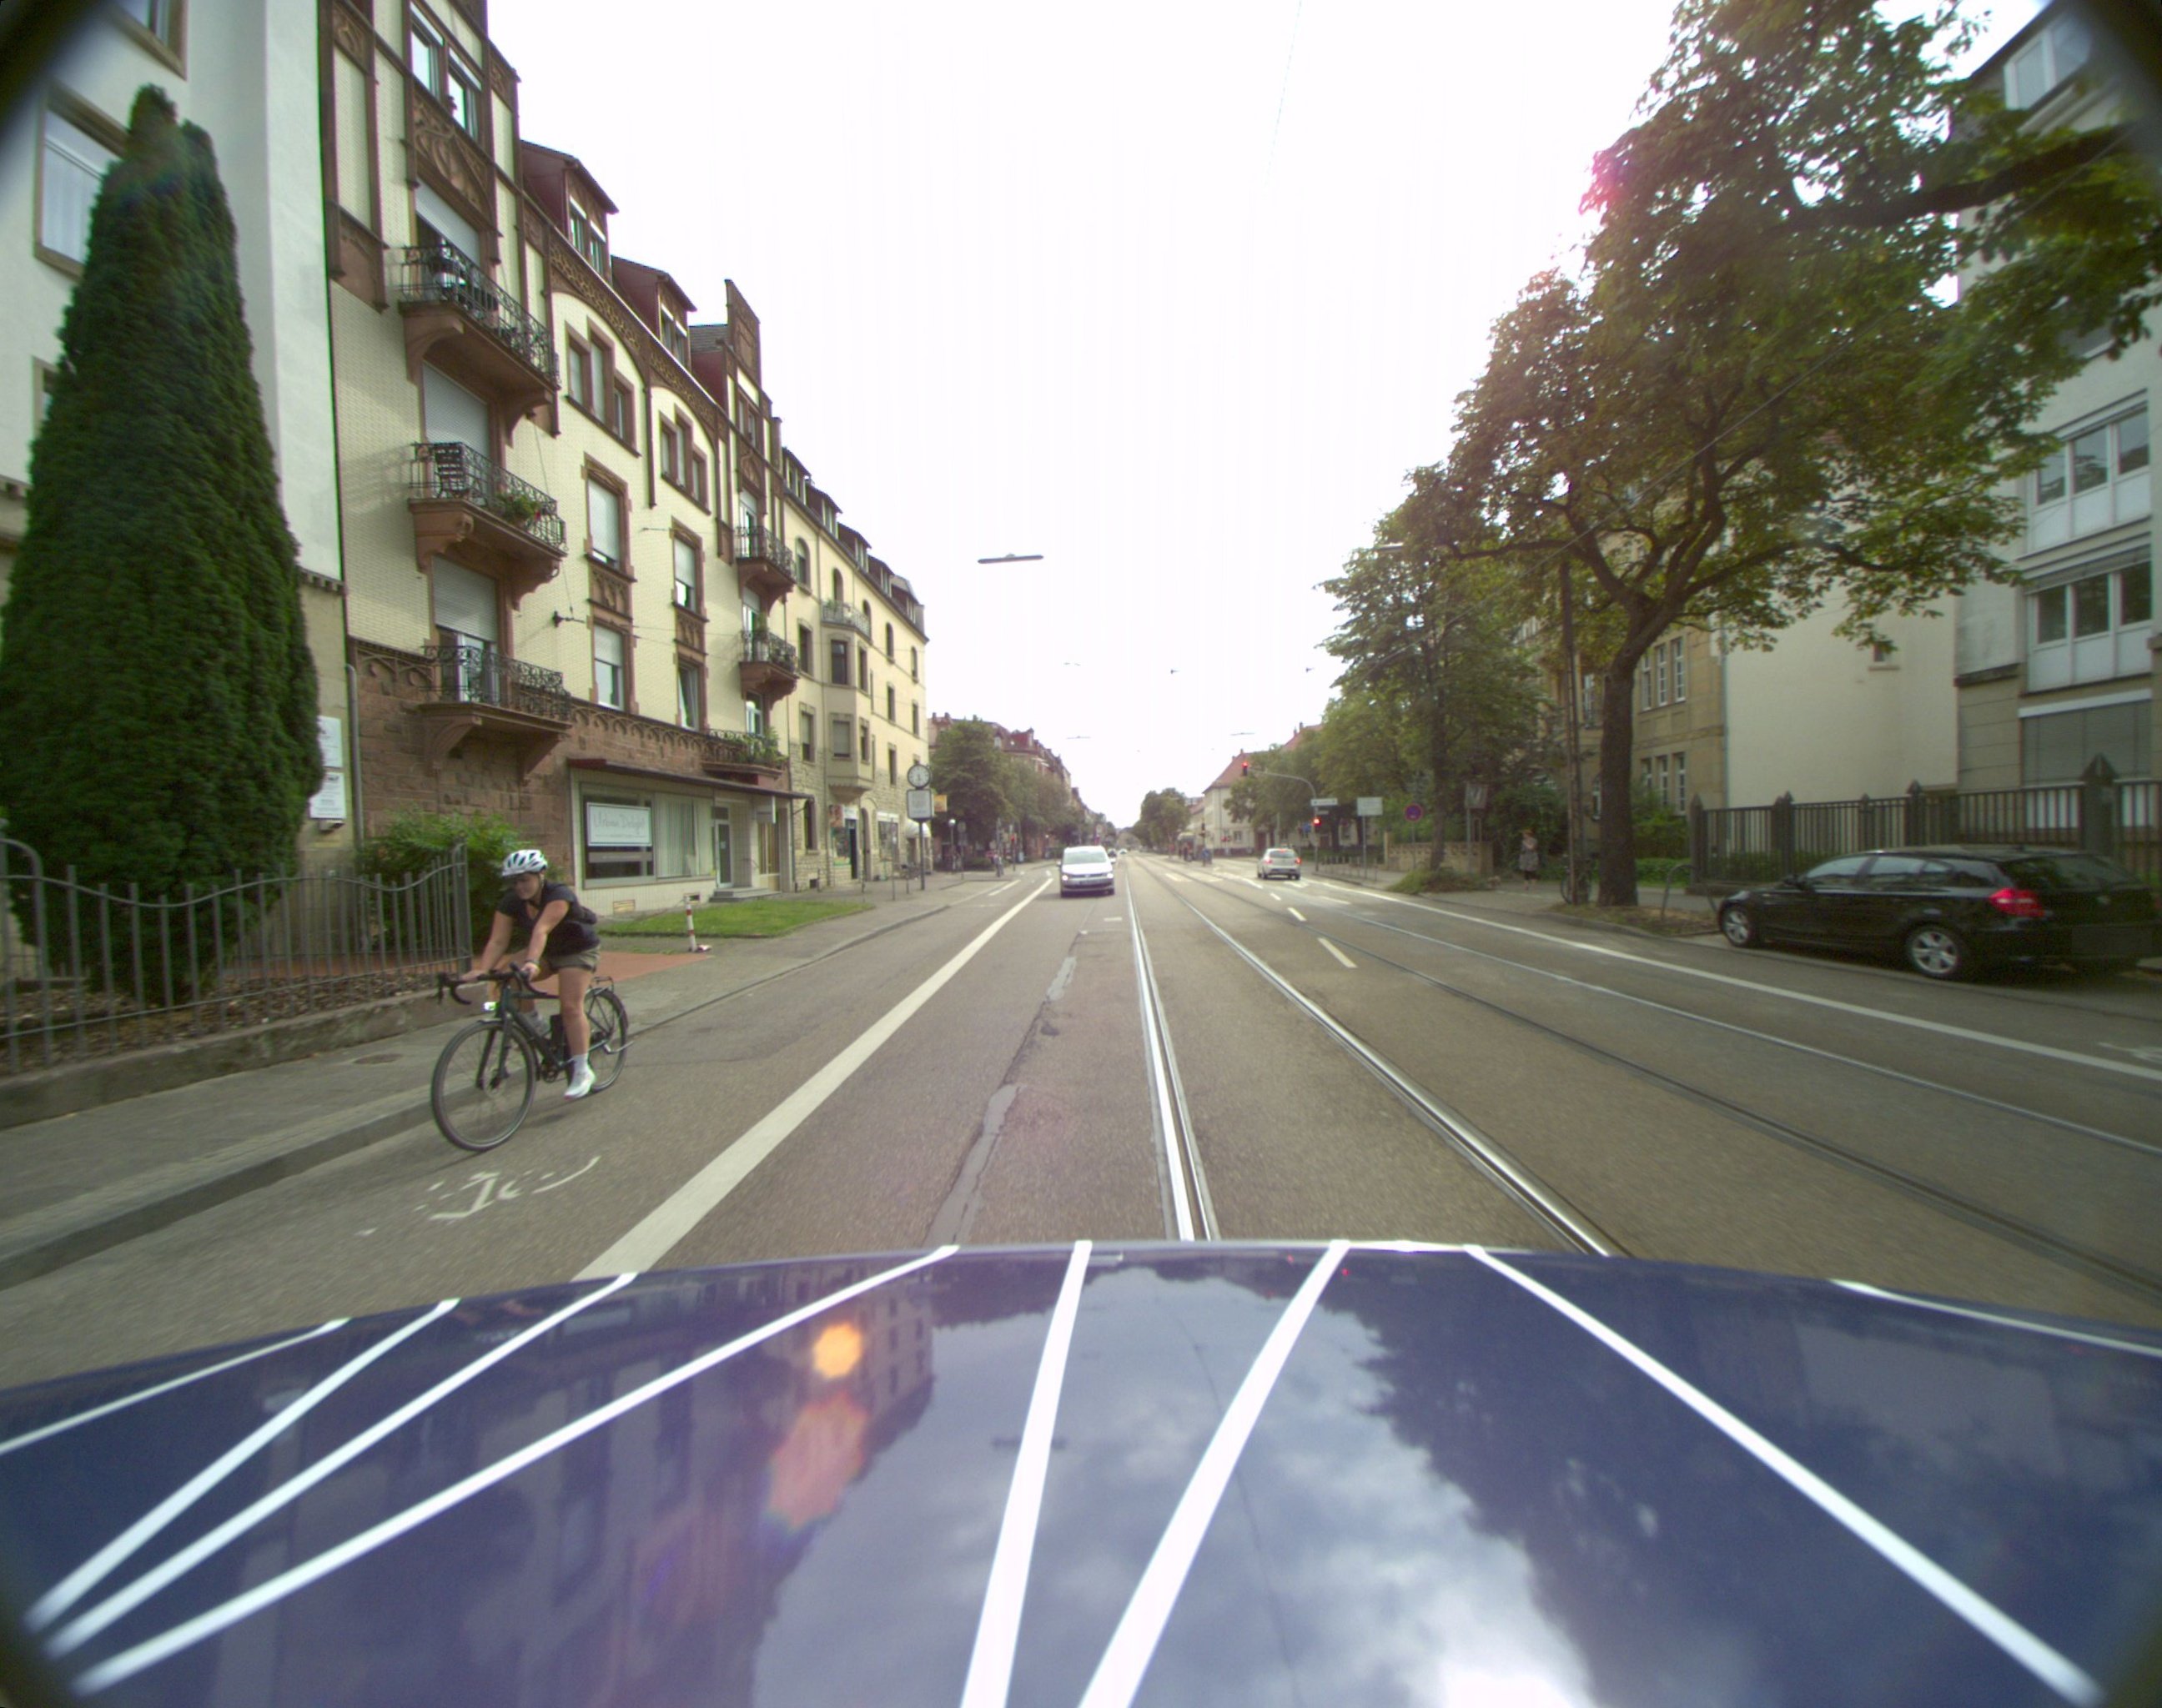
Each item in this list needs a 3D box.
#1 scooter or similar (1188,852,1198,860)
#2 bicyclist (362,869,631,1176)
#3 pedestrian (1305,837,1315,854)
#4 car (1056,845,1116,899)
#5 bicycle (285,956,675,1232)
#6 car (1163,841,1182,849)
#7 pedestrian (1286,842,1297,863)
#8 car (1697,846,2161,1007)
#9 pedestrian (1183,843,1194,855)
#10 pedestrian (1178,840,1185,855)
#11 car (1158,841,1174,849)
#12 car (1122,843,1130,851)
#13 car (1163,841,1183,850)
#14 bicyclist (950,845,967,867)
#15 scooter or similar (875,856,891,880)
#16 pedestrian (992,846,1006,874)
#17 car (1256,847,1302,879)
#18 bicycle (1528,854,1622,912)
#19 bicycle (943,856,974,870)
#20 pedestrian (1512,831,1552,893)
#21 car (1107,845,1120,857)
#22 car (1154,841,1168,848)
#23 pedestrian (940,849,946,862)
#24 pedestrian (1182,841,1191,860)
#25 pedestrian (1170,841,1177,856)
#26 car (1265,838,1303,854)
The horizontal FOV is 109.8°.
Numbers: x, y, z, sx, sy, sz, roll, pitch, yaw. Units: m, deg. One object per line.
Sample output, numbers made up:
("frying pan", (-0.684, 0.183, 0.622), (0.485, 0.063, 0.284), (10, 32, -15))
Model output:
("scooter or similar", (9.835, 0.165, 66.603), (0.669, 0.708, 0.604), (2, 3, 35))
("bicyclist", (-3.409, 0.903, 4.562), (0.640, 1.561, 1.110), (-3, 1, 1))
("pedestrian", (27.966, -1.033, 92.633), (0.862, 2.002, 0.765), (-1, 2, 38))
("car", (0.265, 0.553, 26.857), (1.766, 1.661, 4.330), (-3, 1, 4))
("bicycle", (-3.396, 1.276, 4.629), (0.640, 0.975, 2.071), (-3, 1, 1))
("car", (20.169, -2.001, 167.862), (3.995, 1.716, 1.877), (-2, 1, 6))
("pedestrian", (16.782, -0.110, 60.674), (0.654, 1.681, 0.712), (-1, 1, -1))
("car", (10.017, 0.684, 9.341), (1.724, 1.416, 4.166), (-4, 1, 5))
("pedestrian", (11.359, -0.485, 80.357), (1.032, 1.230, 0.723), (-2, 1, 2))
("pedestrian", (11.691, -0.770, 88.250), (0.588, 1.694, 0.619), (-2, 1, -1))
("car", (21.118, -2.313, 188.648), (3.995, 1.716, 1.877), (-2, 1, 6))
("car", (11.994, -1.817, 204.378), (1.998, 2.002, 4.001), (-2, 1, 5))
("car", (19.123, -1.835, 158.573), (3.995, 1.716, 1.877), (-2, 1, 6))
("bicyclist", (-9.802, 0.176, 60.777), (0.841, 1.680, 1.243), (-2, 1, -41))
("scooter or similar", (-9.978, 0.717, 38.347), (0.398, 1.161, 1.197), (1, 1, 3))
("pedestrian", (-5.105, 0.376, 47.107), (0.721, 1.651, 0.759), (3, 1, -1))
("car", (9.324, 0.398, 36.087), (1.574, 1.408, 4.001), (1, 1, 7))
("bicycle", (11.294, 0.638, 17.361), (2.239, 1.168, 0.833), (-3, 1, -30))
("bicycle", (-9.812, 0.712, 60.802), (0.888, 1.039, 3.088), (-2, 1, -41))
("pedestrian", (13.057, 0.219, 22.000), (0.707, 1.726, 0.701), (-2, 1, -1))
("car", (5.562, -0.565, 129.588), (1.998, 2.002, 4.001), (-2, 1, 5))
("car", (21.885, -2.597, 207.894), (3.995, 1.716, 1.877), (-2, 1, 6))
("pedestrian", (-18.145, 0.235, 100.012), (0.612, 1.684, 0.641), (-1, 1, -2))
("pedestrian", (9.366, -0.316, 67.305), (0.684, 1.681, 0.815), (-1, 1, 2))
("pedestrian", (11.338, -0.653, 93.128), (0.658, 1.824, 0.464), (-3, 1, -10))
("car", (25.937, -1.045, 97.151), (4.188, 1.854, 1.857), (-2, 1, 38))
